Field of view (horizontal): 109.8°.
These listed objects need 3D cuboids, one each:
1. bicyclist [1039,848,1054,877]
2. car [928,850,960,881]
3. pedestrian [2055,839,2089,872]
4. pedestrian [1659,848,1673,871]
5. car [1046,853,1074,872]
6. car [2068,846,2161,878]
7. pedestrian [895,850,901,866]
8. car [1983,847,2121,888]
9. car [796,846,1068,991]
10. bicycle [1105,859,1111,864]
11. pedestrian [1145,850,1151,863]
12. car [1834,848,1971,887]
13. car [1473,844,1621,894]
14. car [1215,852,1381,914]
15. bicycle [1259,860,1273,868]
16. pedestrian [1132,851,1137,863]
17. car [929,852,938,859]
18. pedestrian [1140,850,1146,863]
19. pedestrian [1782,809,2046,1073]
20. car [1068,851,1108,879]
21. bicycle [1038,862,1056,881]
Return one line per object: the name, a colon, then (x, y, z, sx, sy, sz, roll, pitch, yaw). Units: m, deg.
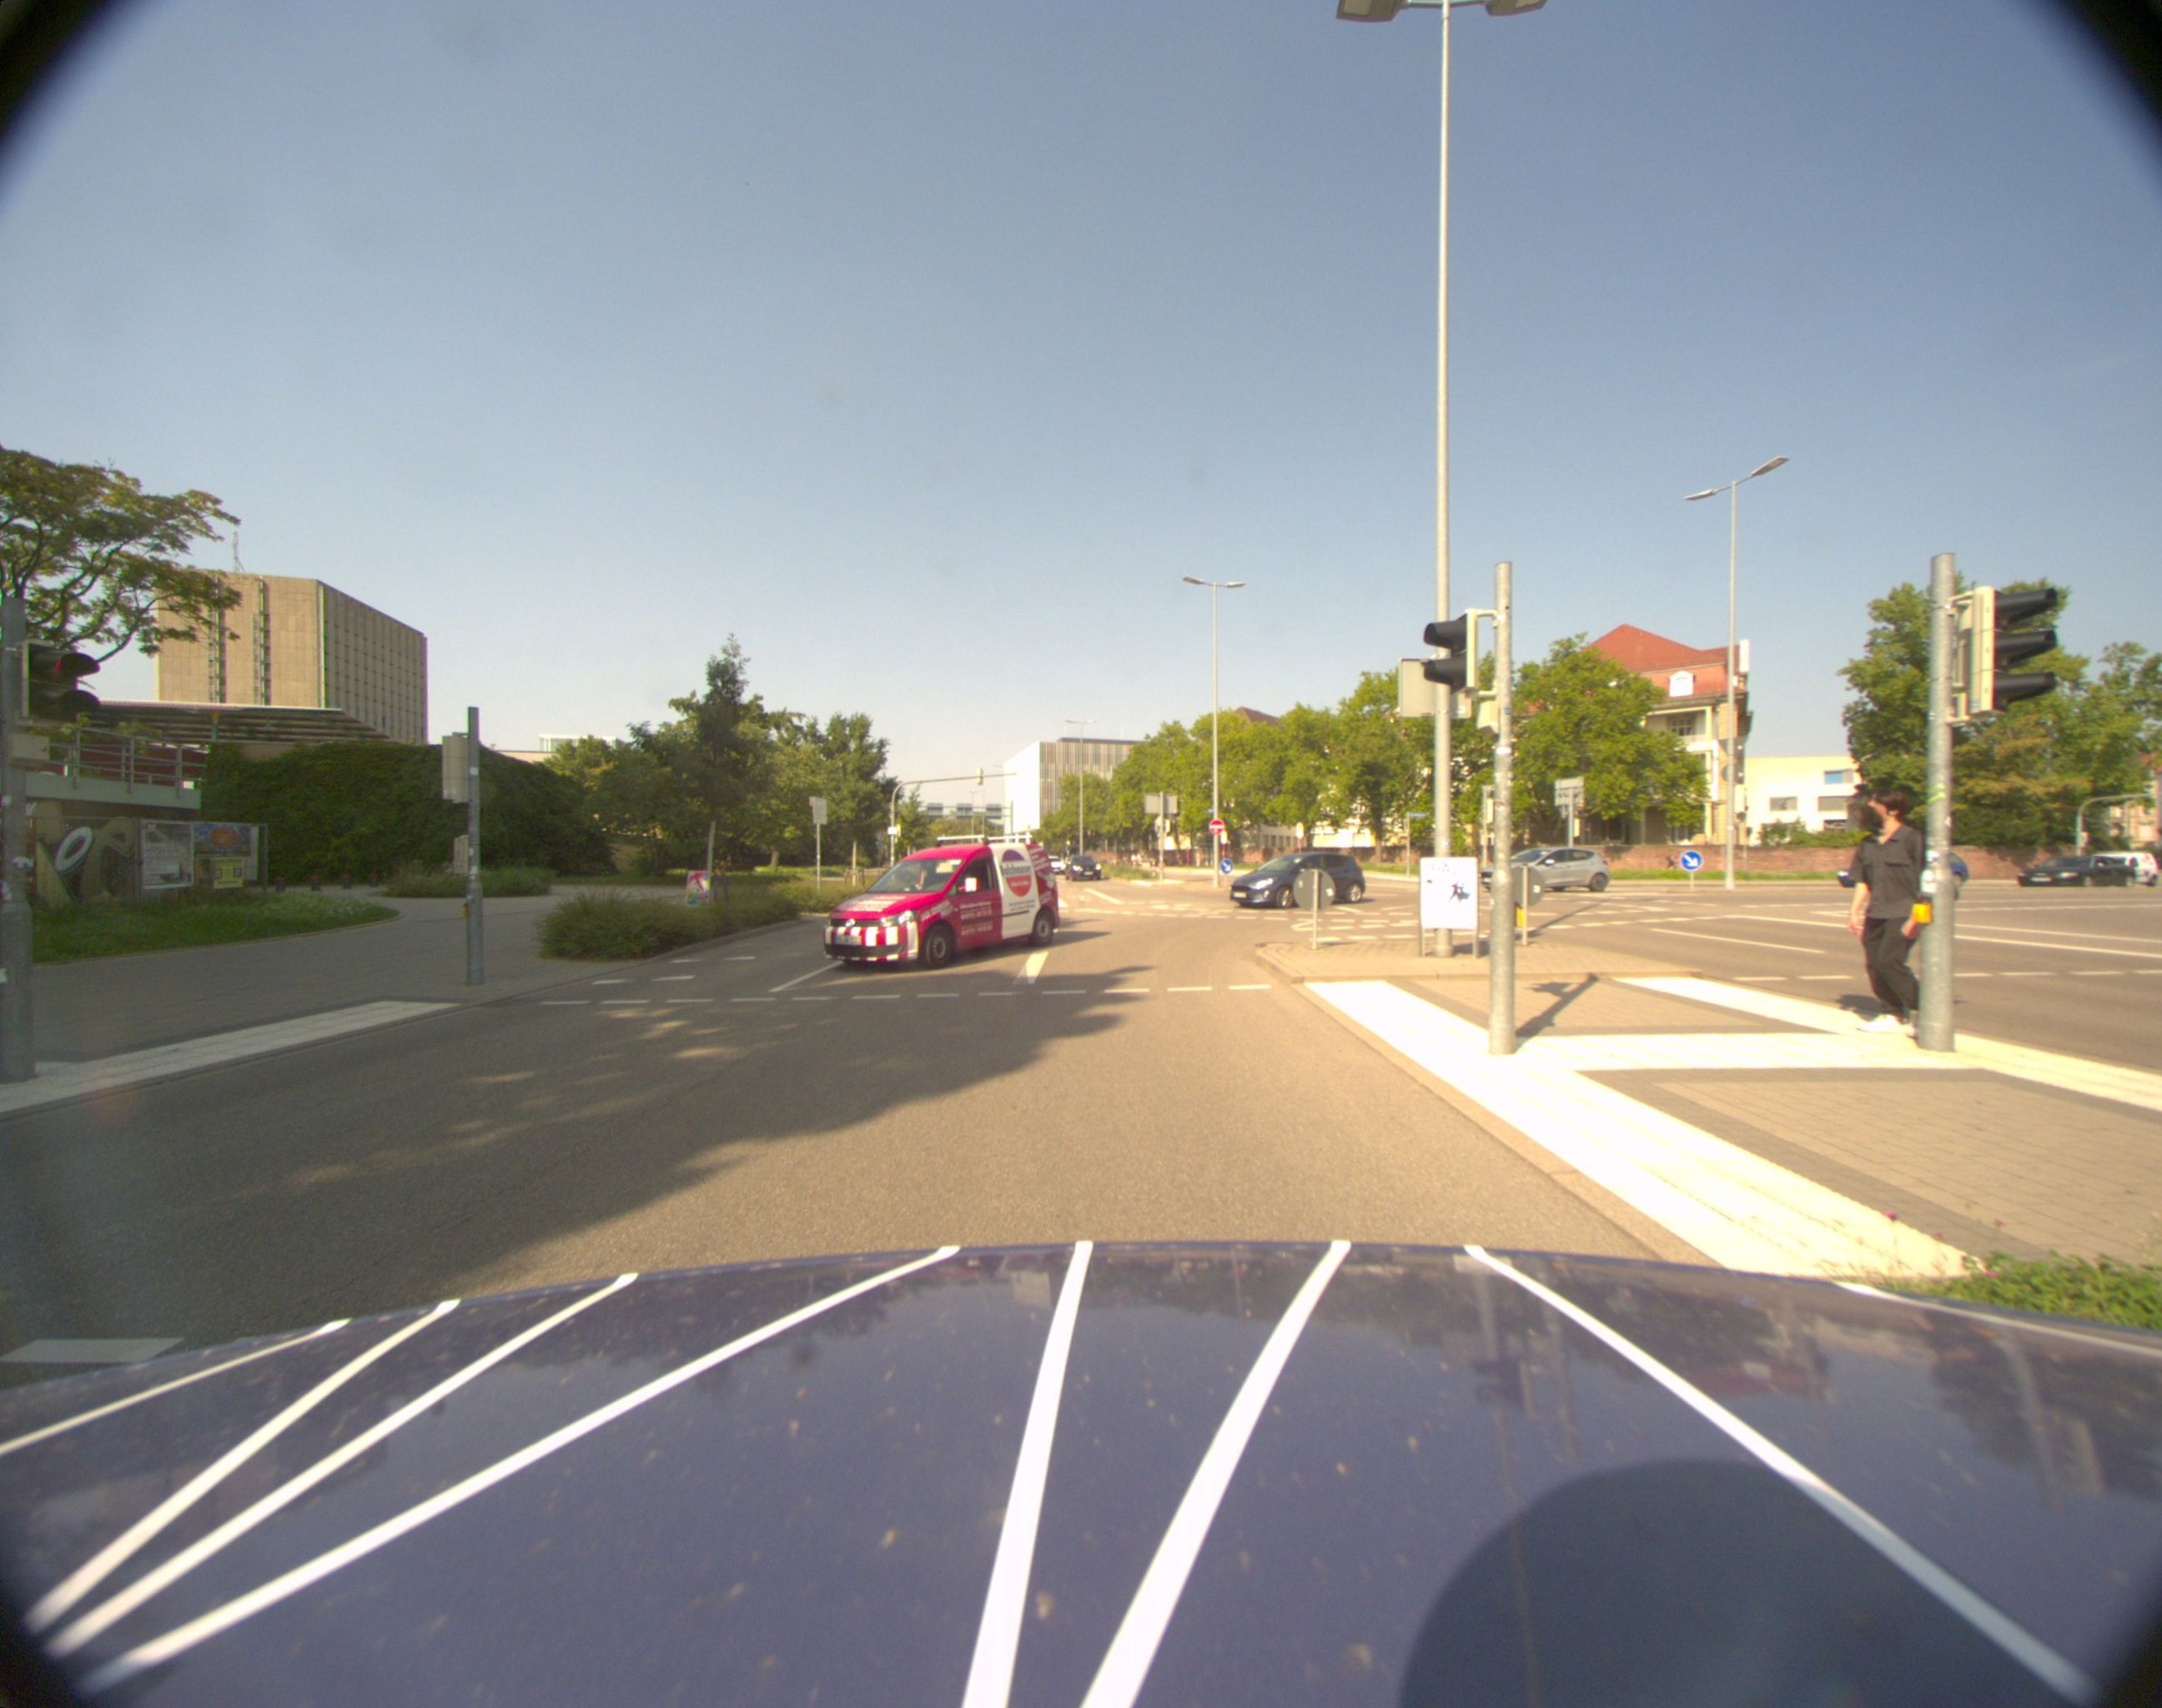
bicyclist: (-1.958, 0.472, 43.404, 0.749, 1.626, 0.875, 0, 0, -10)
car: (-8.747, 0.678, 48.766, 1.847, 1.864, 4.969, -1, 0, -8)
pedestrian: (60.927, 0.104, 46.716, 0.907, 2.001, 0.821, -1, -2, 0)
pedestrian: (43.684, 0.425, 56.726, 0.716, 1.673, 0.596, 0, 1, 44)
car: (-1.694, 0.651, 59.724, 1.716, 1.428, 3.862, 0, 0, -8)
car: (55.211, 0.430, 40.334, 4.001, 1.667, 1.756, 0, -2, -11)
pedestrian: (-20.724, 0.458, 86.044, 0.624, 1.835, 0.640, 0, 1, -13)
car: (39.386, 0.513, 30.864, 4.002, 1.543, 1.997, -1, 1, -14)
car: (-2.092, 0.816, 11.938, 1.733, 1.808, 4.285, -1, 1, 31)
bicycle: (4.056, 1.114, 115.241, 0.434, 0.830, 1.547, 0, 0, -20)
pedestrian: (8.832, 0.357, 99.659, 0.484, 1.641, 0.593, 1, -2, -31)
car: (30.083, 0.465, 27.840, 4.335, 1.321, 1.605, -1, 1, -15)
car: (14.812, 0.450, 24.222, 3.860, 1.425, 1.719, -1, 1, -10)
car: (5.982, 0.738, 20.881, 4.327, 1.419, 1.637, -2, 1, -24)
bicycle: (20.274, 1.107, 83.132, 0.435, 0.830, 1.546, 0, 0, -36)
pedestrian: (7.133, 0.437, 100.963, 0.536, 1.562, 0.501, -1, 1, -34)
car: (-36.562, 0.284, 188.394, 1.833, 1.674, 3.995, 0, 0, -13)
pedestrian: (8.113, 0.334, 99.195, 0.520, 1.641, 0.593, 1, -2, -31)
pedestrian: (6.157, 0.601, 5.684, 1.081, 1.829, 0.730, 1, 1, 5)
car: (0.344, 0.638, 46.112, 1.853, 1.569, 4.711, -1, 0, -7)
bicycle: (-1.972, 0.998, 43.456, 0.770, 1.046, 1.773, 0, 1, -11)
